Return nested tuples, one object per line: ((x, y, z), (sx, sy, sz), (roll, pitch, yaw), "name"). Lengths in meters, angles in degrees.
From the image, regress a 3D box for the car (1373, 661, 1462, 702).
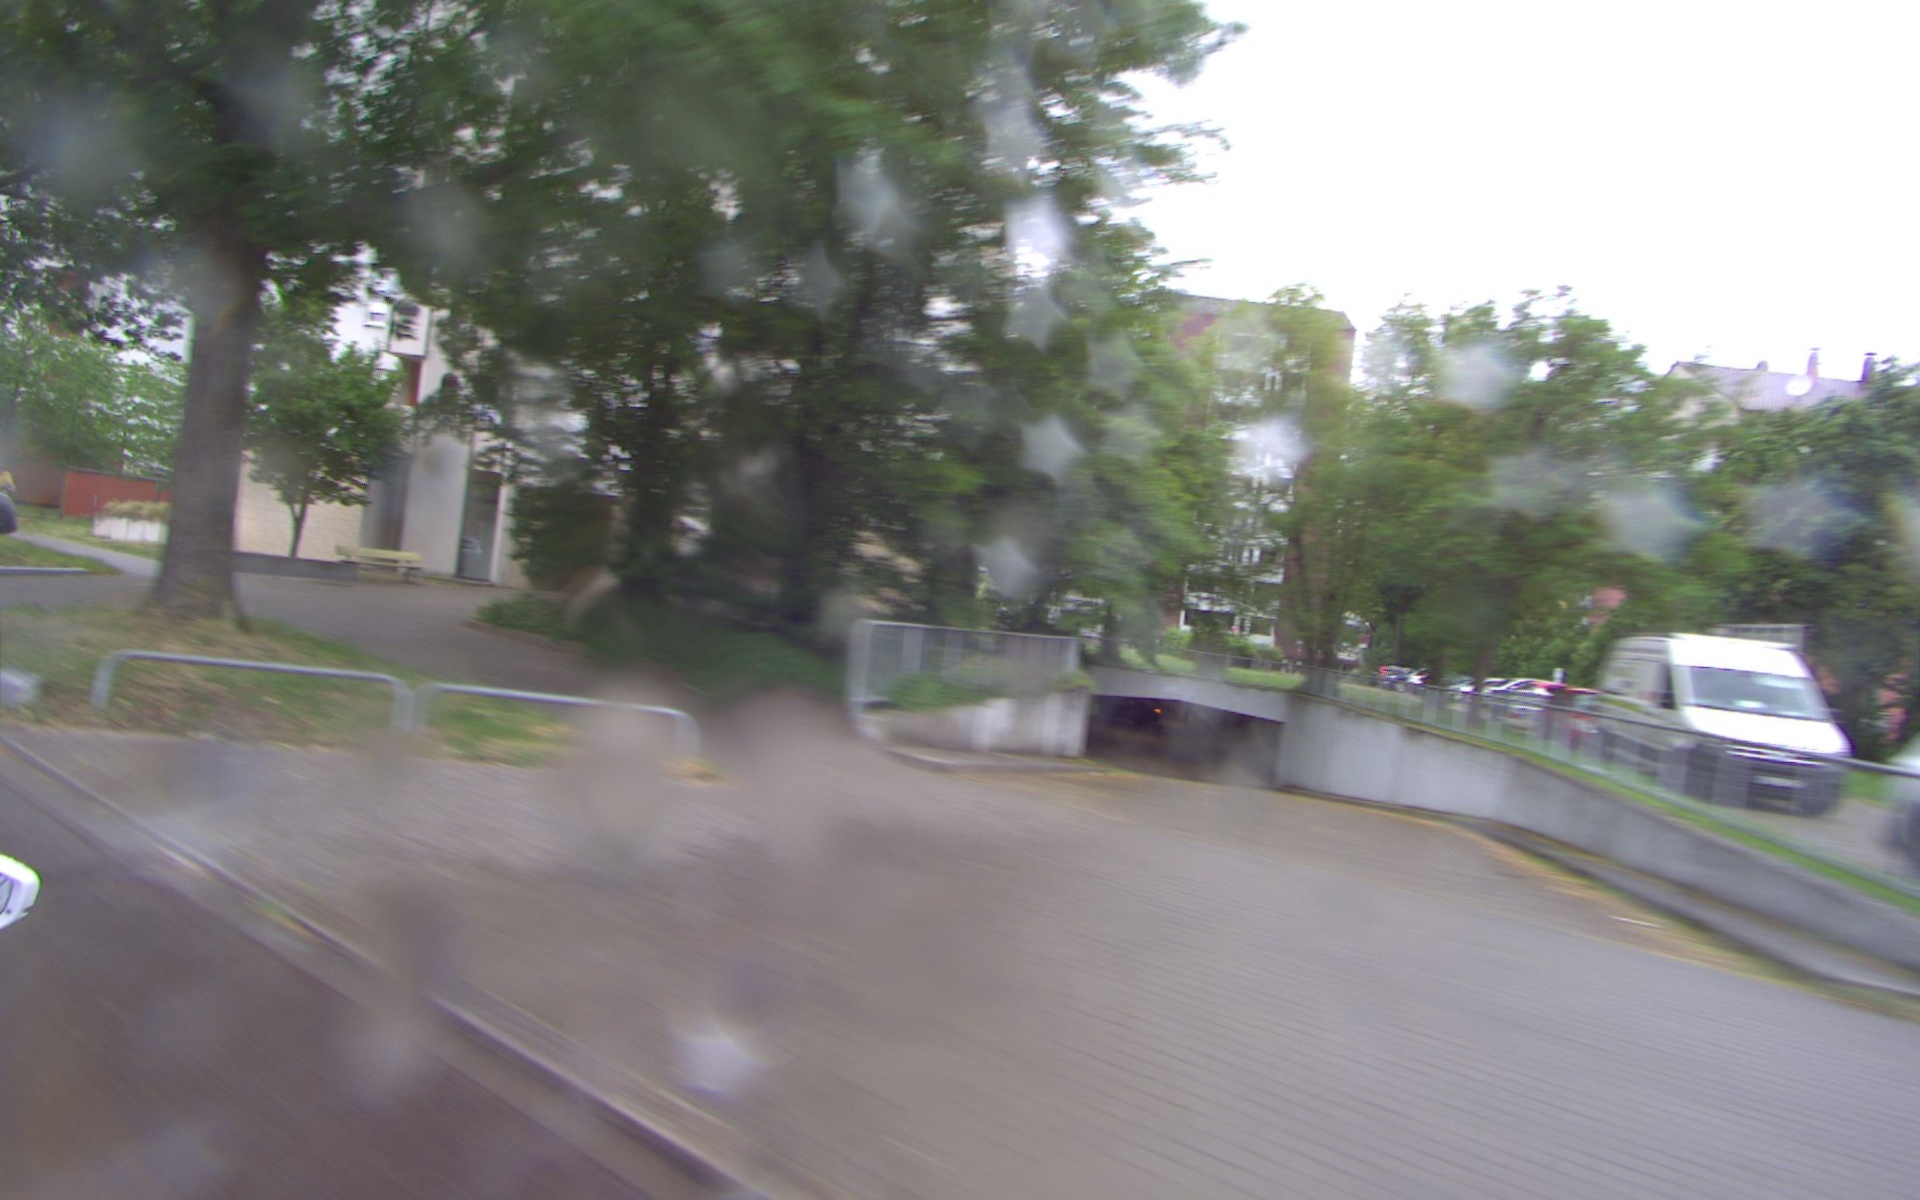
((26.599, 4.715, 58.642), (4.171, 1.698, 1.885), (8, -1, 7), "car")

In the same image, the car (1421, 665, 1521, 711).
((26.985, 4.635, 53.238), (4.171, 1.698, 1.885), (8, -1, 7), "car")

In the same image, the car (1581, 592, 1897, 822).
((12.905, 1.659, 17.320), (2.090, 3.000, 6.077), (7, 0, 19), "car")

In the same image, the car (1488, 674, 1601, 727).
((26.302, 4.519, 45.402), (3.924, 1.741, 1.725), (8, -2, 13), "car")

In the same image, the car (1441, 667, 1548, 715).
((26.830, 4.548, 50.593), (4.171, 1.698, 1.885), (8, -1, 7), "car")

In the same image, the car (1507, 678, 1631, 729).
((25.712, 4.361, 42.595), (3.924, 1.470, 2.003), (8, -2, 13), "car")

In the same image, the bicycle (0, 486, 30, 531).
((-25.728, -2.497, 26.934), (2.018, 1.069, 0.735), (8, 1, 34), "bicycle")

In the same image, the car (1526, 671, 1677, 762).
((14.418, 2.541, 22.895), (1.872, 1.544, 4.418), (7, 0, 21), "car")

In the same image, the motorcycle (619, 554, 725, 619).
((-7.146, -0.340, 25.068), (2.261, 1.305, 0.884), (7, 1, -4), "motorcycle")

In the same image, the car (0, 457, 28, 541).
((-21.150, -2.191, 19.575), (1.963, 1.742, 4.144), (7, 2, 2), "car")

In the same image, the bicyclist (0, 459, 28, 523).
((-25.611, -2.946, 26.886), (0.929, 1.614, 0.735), (8, 1, 34), "bicyclist")

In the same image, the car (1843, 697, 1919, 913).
((8.656, 1.787, 6.932), (1.963, 1.766, 4.820), (7, 0, 19), "car")

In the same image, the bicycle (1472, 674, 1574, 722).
((26.662, 4.641, 47.735), (3.924, 1.651, 1.180), (8, 0, 12), "bicycle")

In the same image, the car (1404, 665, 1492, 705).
((27.129, 4.729, 56.043), (3.924, 1.586, 1.981), (8, -2, 13), "car")

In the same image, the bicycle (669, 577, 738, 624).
((-6.096, 0.016, 23.938), (1.439, 0.937, 0.408), (7, 1, -4), "bicycle")
